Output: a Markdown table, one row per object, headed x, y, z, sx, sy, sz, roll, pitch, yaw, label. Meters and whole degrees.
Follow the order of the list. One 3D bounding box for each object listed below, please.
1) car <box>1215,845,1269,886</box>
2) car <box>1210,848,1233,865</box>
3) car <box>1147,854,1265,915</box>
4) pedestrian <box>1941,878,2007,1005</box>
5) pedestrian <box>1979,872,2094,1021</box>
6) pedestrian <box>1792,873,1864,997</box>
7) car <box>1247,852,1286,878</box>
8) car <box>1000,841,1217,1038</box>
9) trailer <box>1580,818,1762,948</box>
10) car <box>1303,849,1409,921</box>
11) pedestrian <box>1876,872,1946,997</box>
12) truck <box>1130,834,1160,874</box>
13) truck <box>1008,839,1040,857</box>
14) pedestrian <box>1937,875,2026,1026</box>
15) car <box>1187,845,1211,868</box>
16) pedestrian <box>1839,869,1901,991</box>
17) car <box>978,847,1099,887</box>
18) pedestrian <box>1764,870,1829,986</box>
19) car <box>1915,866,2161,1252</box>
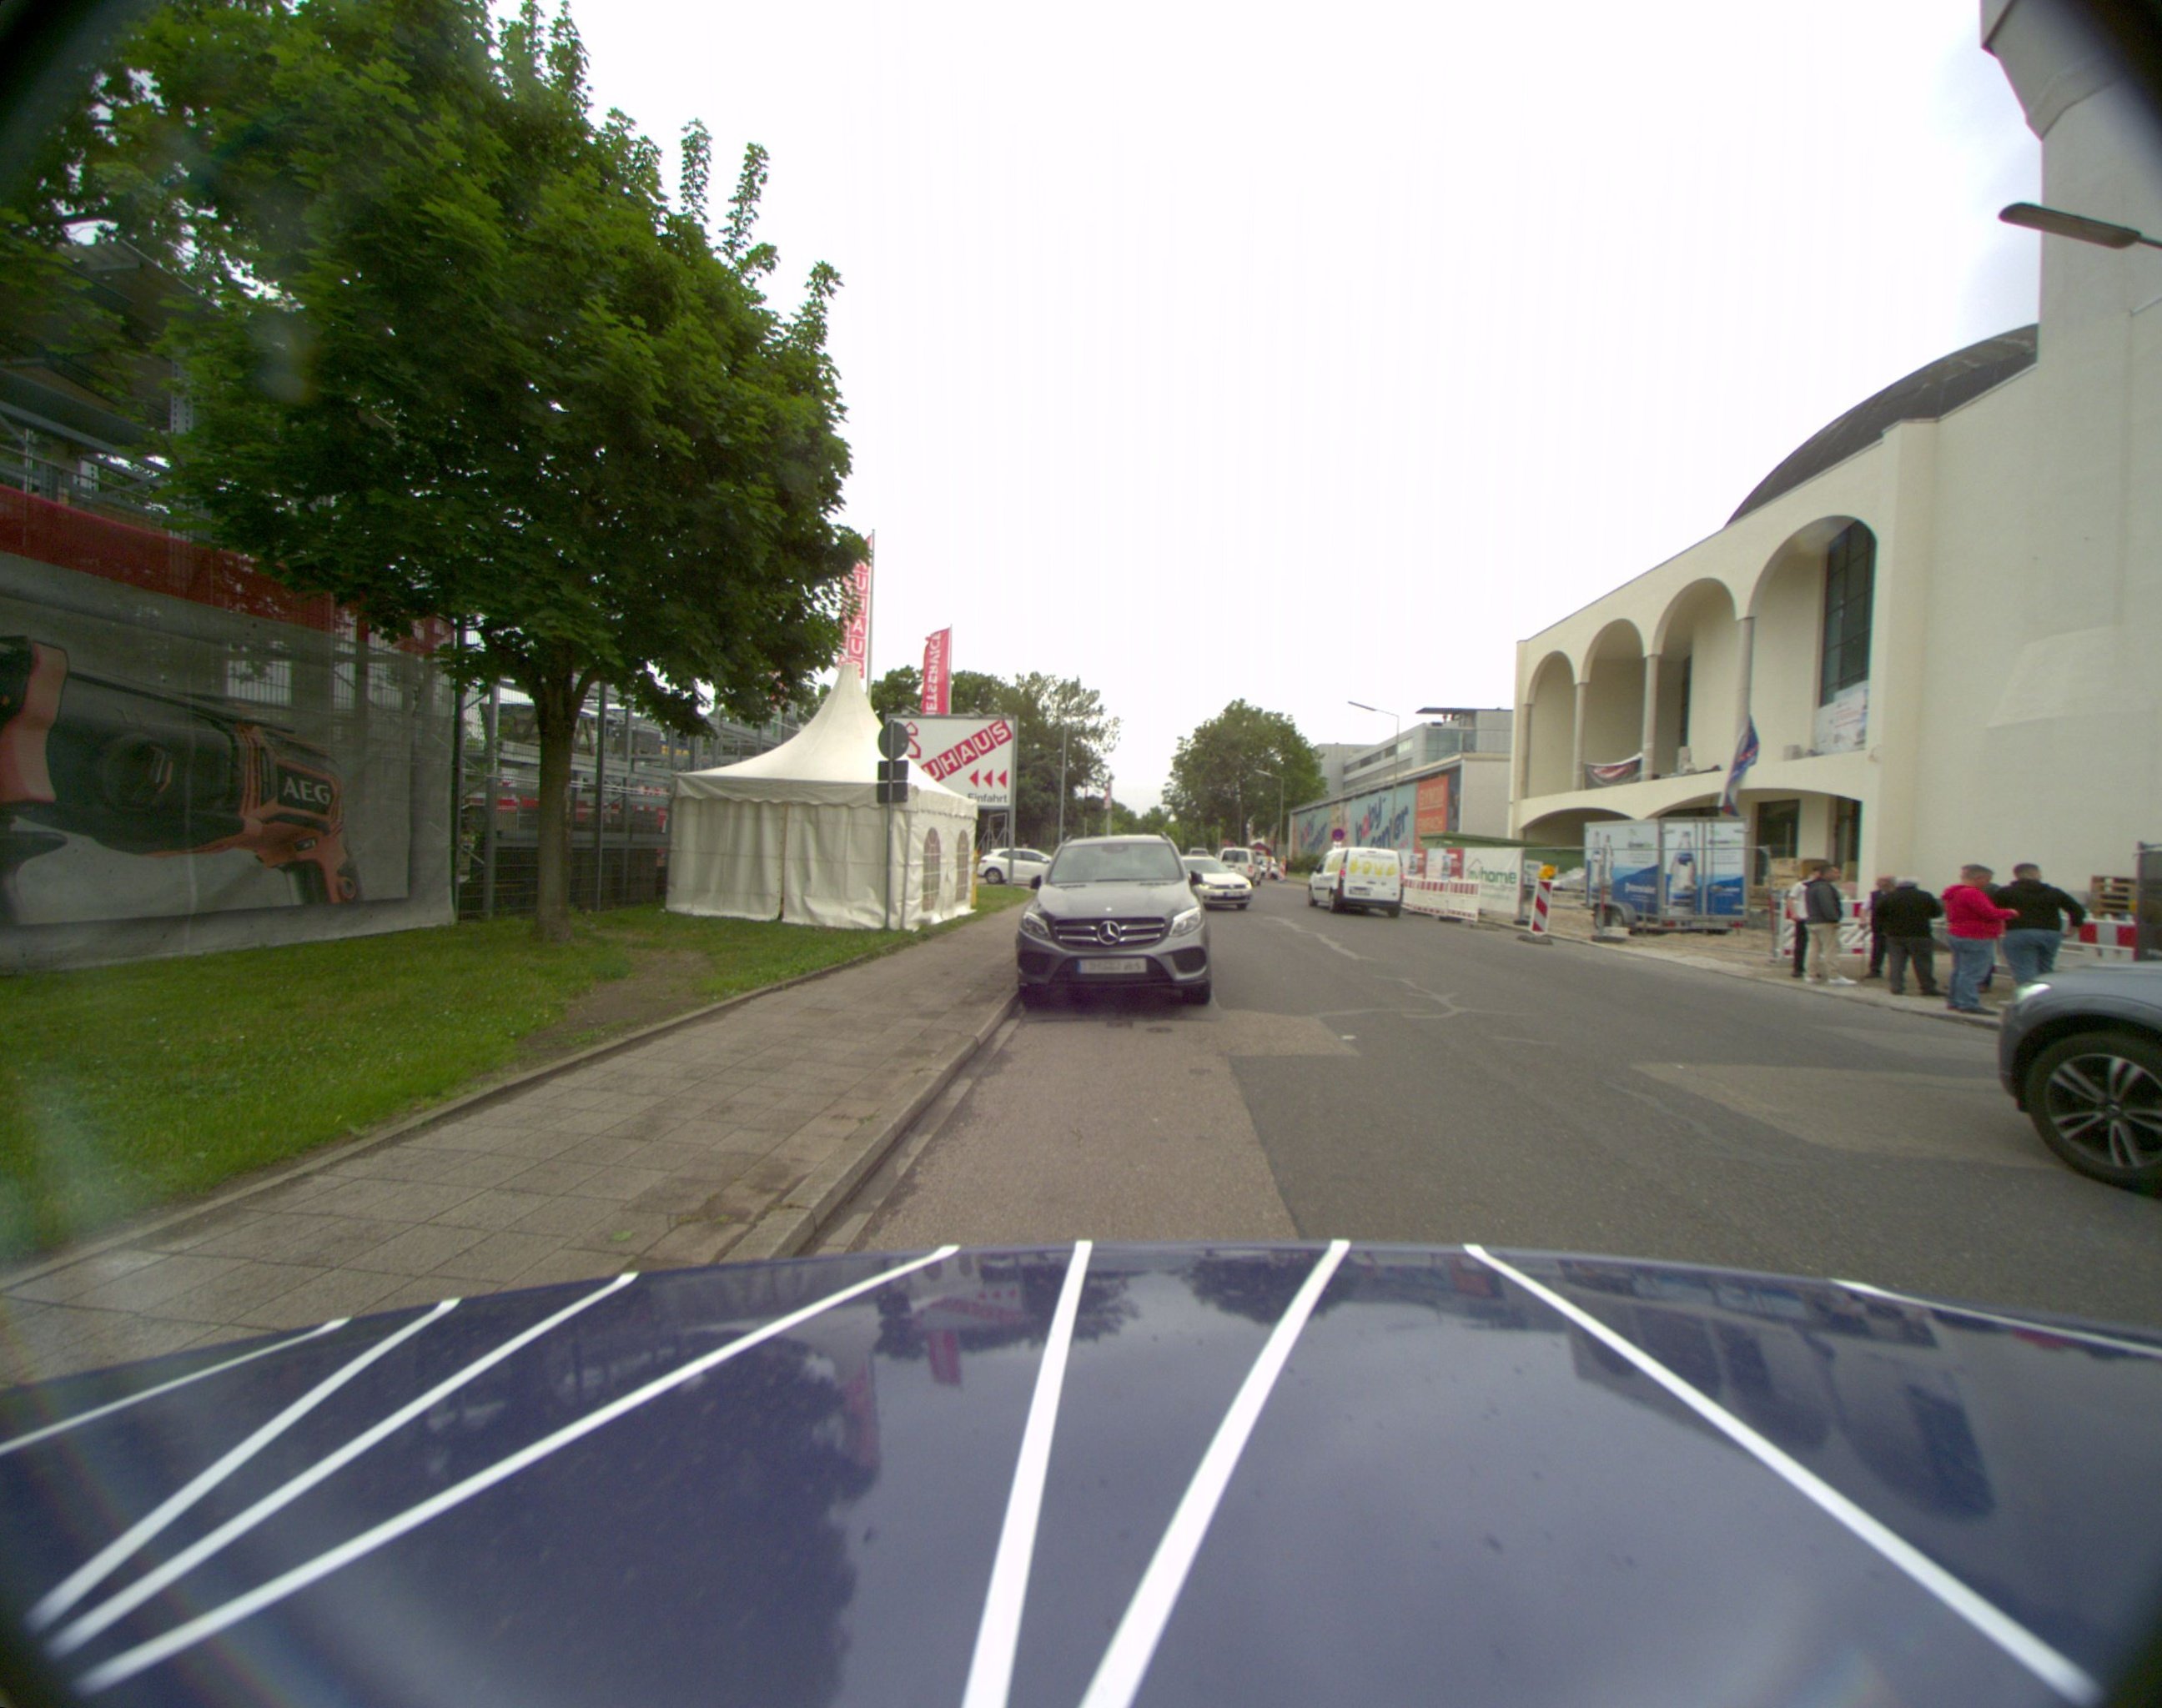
| x | y | z | sx | sy | sz | roll | pitch | yaw | label |
| --- | --- | --- | --- | --- | --- | --- | --- | --- | --- |
| 7.982 | 0.510 | 37.331 | 1.796 | 1.797 | 4.390 | 4 | 2 | 22 | car |
| 14.795 | 0.221 | 79.931 | 1.928 | 1.565 | 4.151 | 5 | 1 | 6 | car |
| 3.367 | 0.774 | 21.344 | 1.759 | 1.443 | 4.291 | 0 | 1 | -13 | car |
| 12.044 | 1.155 | 10.251 | 0.541 | 1.603 | 0.489 | -6 | 5 | -34 | pedestrian |
| 11.520 | 1.073 | 9.187 | 0.685 | 1.707 | 0.698 | -2 | -1 | 38 | pedestrian |
| 10.873 | 1.148 | 11.075 | 0.689 | 1.738 | 0.492 | -2 | -2 | 44 | pedestrian |
| 12.934 | 0.757 | 53.180 | 1.928 | 1.565 | 4.151 | 5 | 1 | 6 | car |
| 0.460 | 0.752 | 9.008 | 1.912 | 1.731 | 4.481 | -1 | 0 | 6 | car |
| 13.194 | 0.580 | 17.253 | 1.801 | 2.592 | 3.193 | 2 | 1 | 8 | trailer |
| 7.597 | 0.768 | 21.411 | 1.693 | 1.751 | 4.136 | 2 | 1 | 4 | car |
| 11.075 | 1.051 | 10.156 | 0.570 | 1.601 | 0.492 | -2 | -2 | 44 | pedestrian |
| 4.330 | -0.027 | 51.371 | 1.852 | 2.598 | 4.001 | -1 | 1 | 5 | truck |
| -7.848 | -0.829 | 104.917 | 1.994 | 2.383 | 4.009 | 3 | 1 | 45 | truck |
| 10.513 | 1.091 | 8.875 | 0.533 | 1.682 | 0.512 | 0 | -2 | -26 | pedestrian |
| 11.073 | 0.216 | 71.684 | 1.931 | 2.002 | 4.956 | 2 | 1 | 6 | car |
| 11.659 | 1.101 | 11.232 | 0.492 | 1.738 | 0.527 | 0 | -2 | -36 | pedestrian |
| -1.649 | 0.477 | 30.271 | 4.489 | 1.420 | 1.940 | 1 | 2 | 7 | car |
| 11.205 | 1.133 | 11.907 | 0.689 | 1.738 | 0.492 | -2 | -2 | 44 | pedestrian |
| 5.668 | 0.977 | 2.075 | 1.937 | 1.674 | 4.496 | 3 | 1 | 4 | car |
